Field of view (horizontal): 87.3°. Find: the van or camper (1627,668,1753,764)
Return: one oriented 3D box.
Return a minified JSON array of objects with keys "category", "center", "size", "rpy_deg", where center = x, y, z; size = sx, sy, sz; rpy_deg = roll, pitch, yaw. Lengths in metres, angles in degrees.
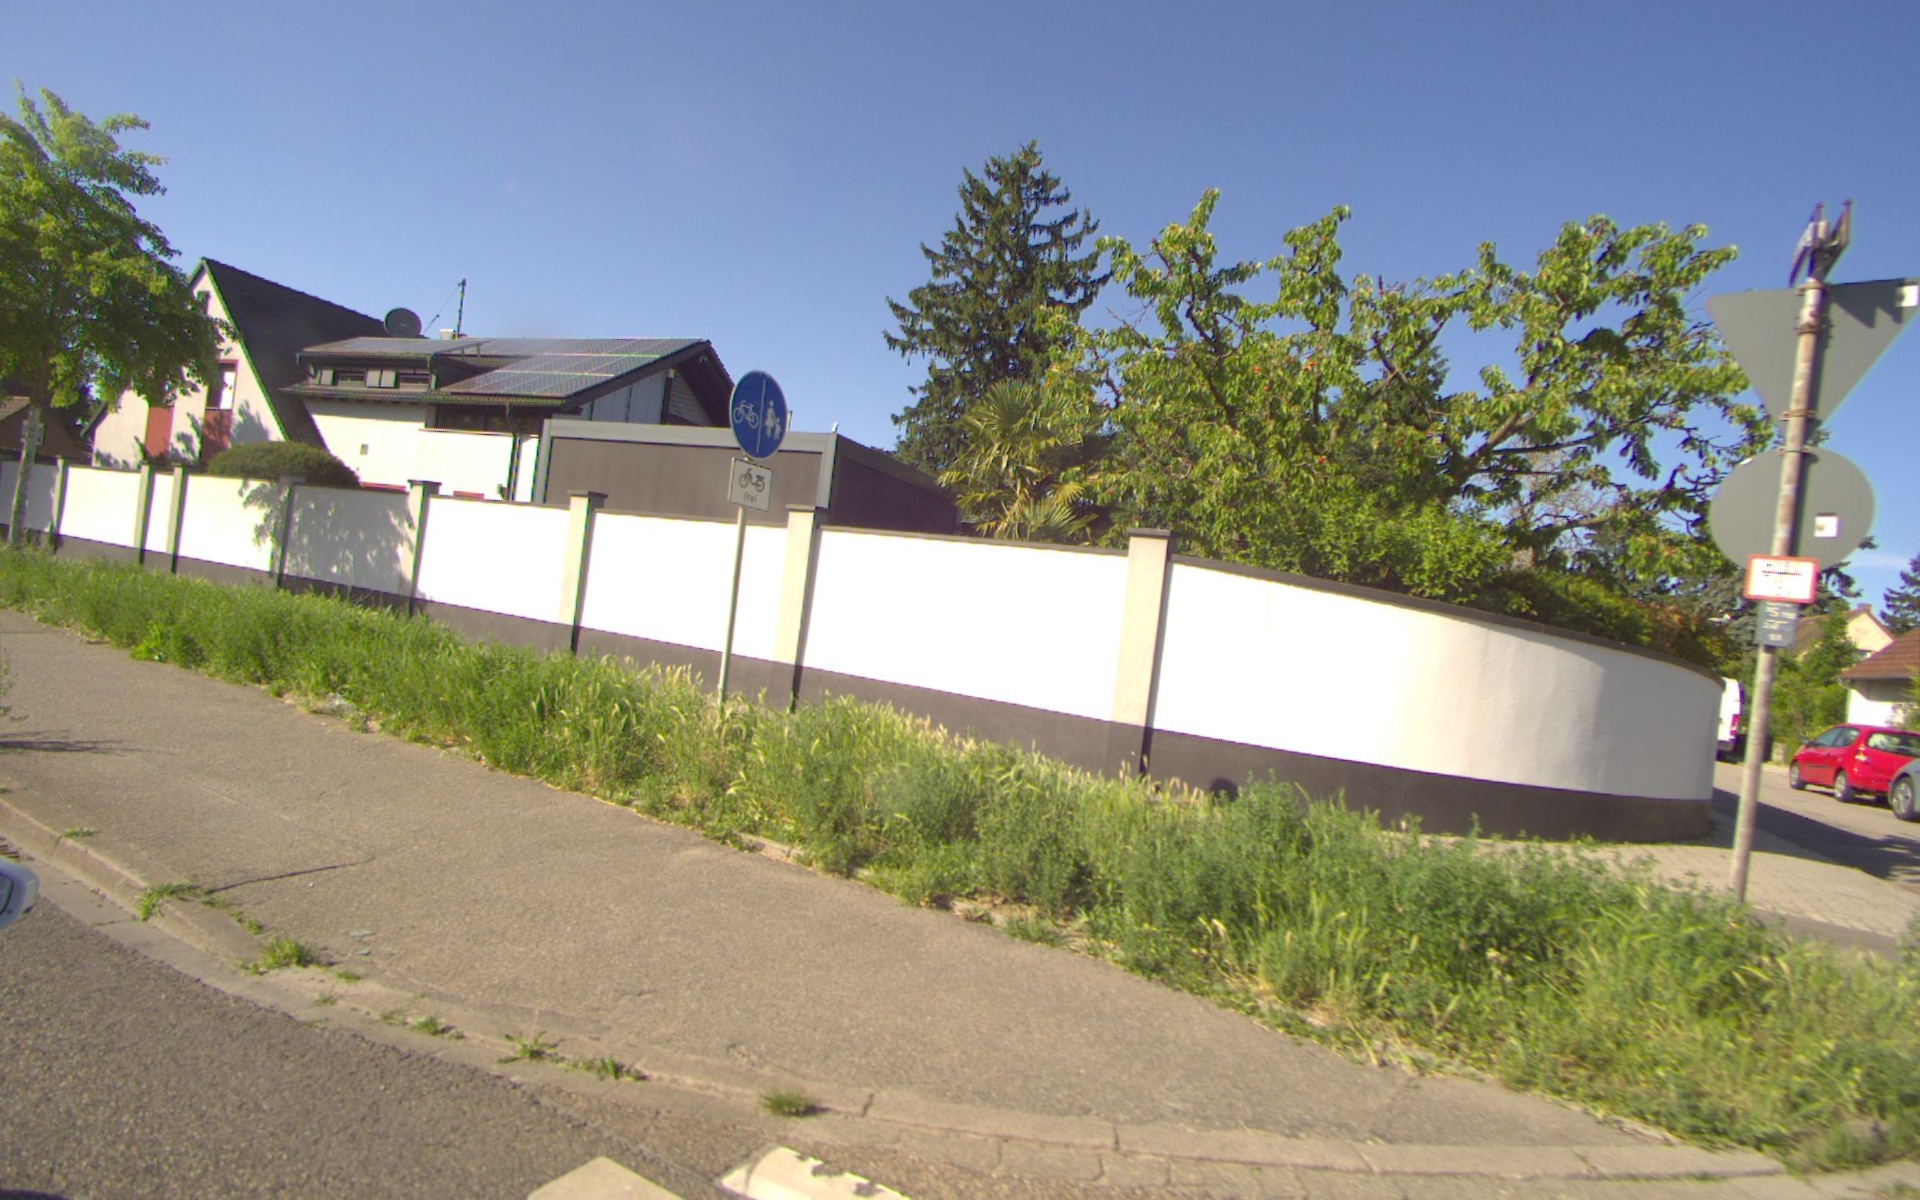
[{"category":"van or camper","center":[22.898,3.566,31.797],"size":[1.964,2.544,4.909],"rpy_deg":[7,-1,24]}]

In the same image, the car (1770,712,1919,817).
[{"category":"car","center":[17.403,3.118,19.370],"size":[1.690,1.548,3.999],"rpy_deg":[8,-1,24]}]

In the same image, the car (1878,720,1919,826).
[{"category":"car","center":[15.124,2.698,14.174],"size":[1.802,1.548,4.000],"rpy_deg":[8,-1,22]}]
